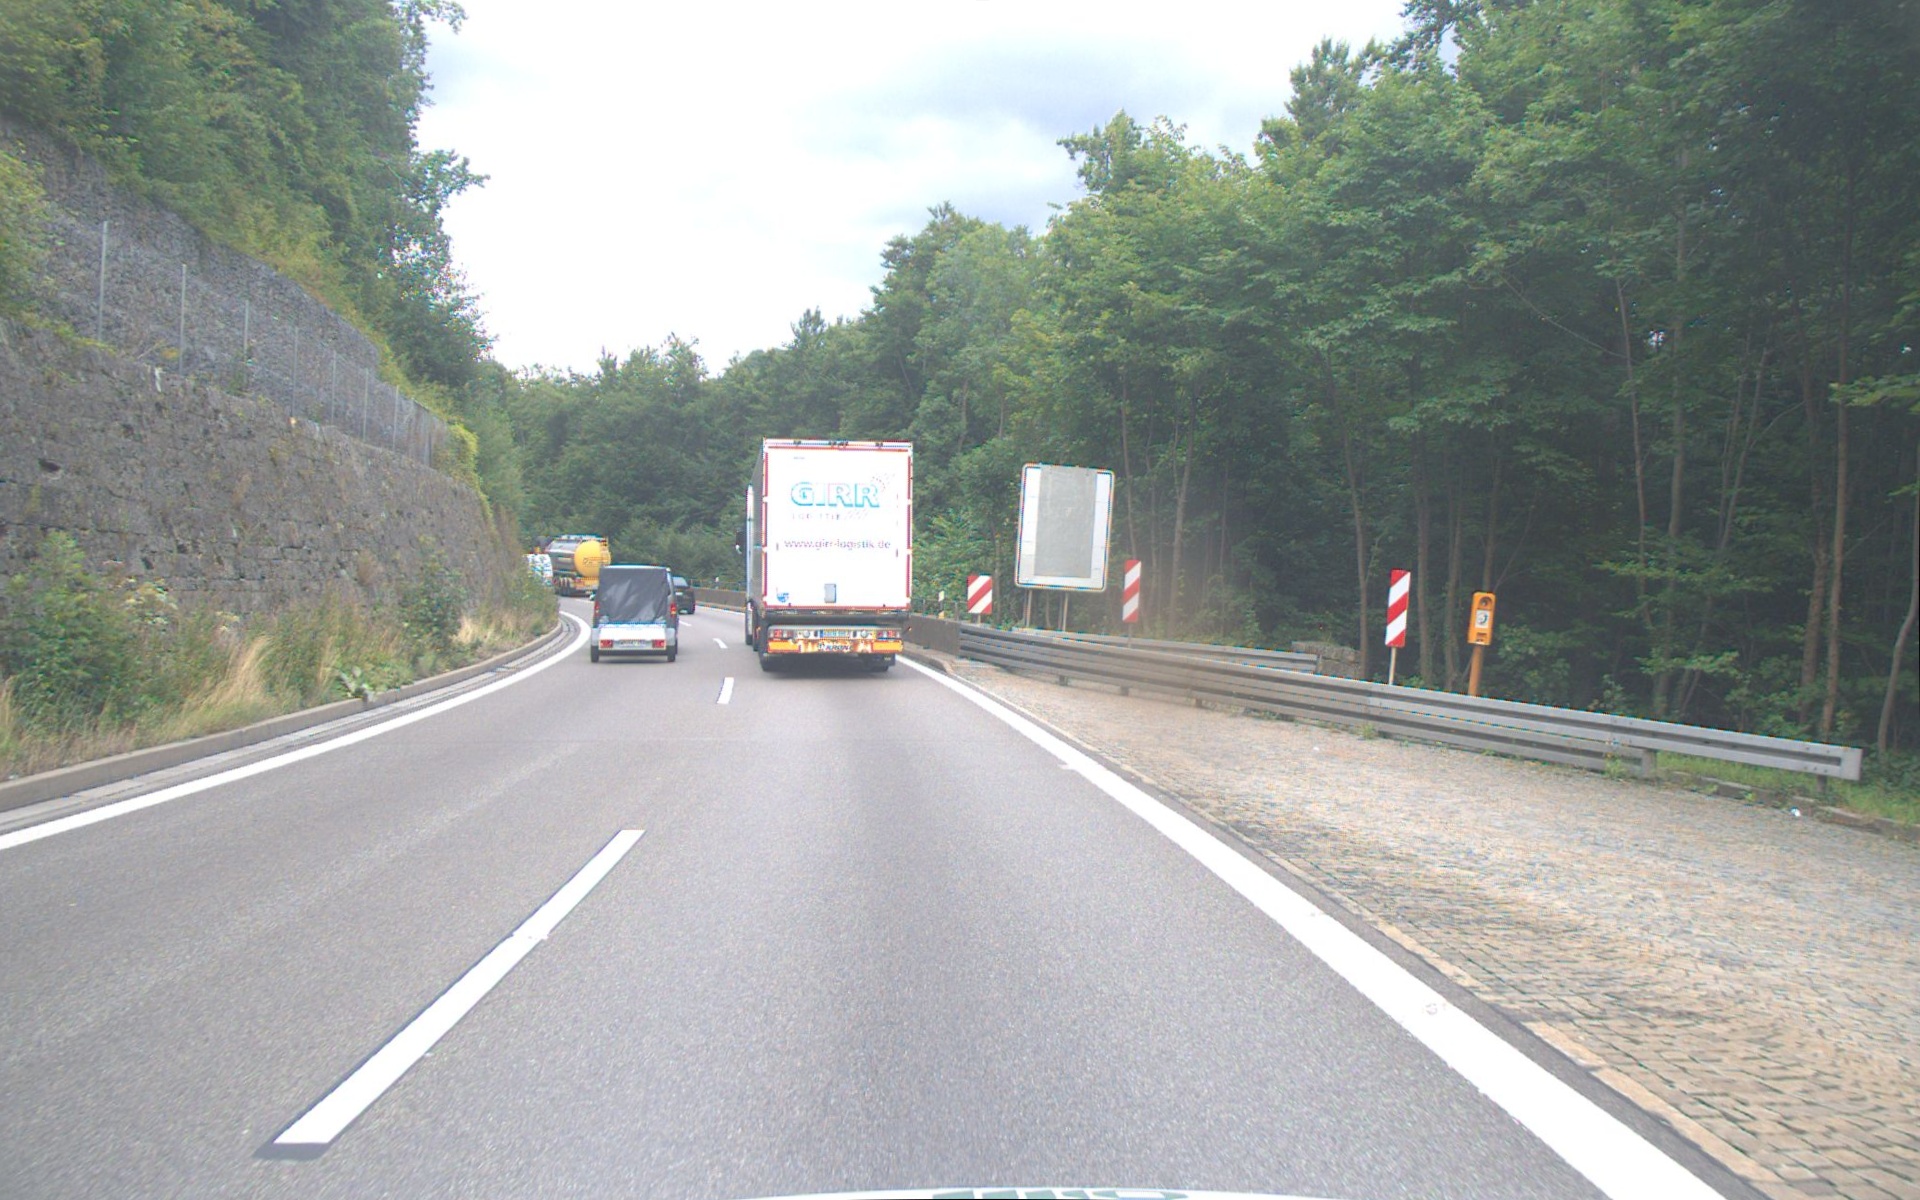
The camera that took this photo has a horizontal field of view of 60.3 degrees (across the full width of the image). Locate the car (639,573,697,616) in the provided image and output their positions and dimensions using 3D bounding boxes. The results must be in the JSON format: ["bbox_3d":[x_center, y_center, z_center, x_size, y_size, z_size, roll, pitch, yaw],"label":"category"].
[{"bbox_3d":[-12.753,-0.250,72.078,1.962,1.691,3.981,3,0,-17],"label":"car"}]

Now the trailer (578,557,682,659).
[{"bbox_3d":[-6.729,0.152,33.994,1.935,1.973,3.423,1,0,-9],"label":"trailer"}]

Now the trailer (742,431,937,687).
[{"bbox_3d":[-2.761,-0.878,33.220,3.000,4.055,12.118,3,2,-8],"label":"trailer"}]

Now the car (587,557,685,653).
[{"bbox_3d":[-7.437,0.108,38.402,1.956,2.049,5.529,1,0,-9],"label":"car"}]

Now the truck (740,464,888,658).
[{"bbox_3d":[-3.643,-0.969,39.579,3.000,4.055,7.176,3,2,-8],"label":"truck"}]

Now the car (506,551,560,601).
[{"bbox_3d":[-25.054,-1.443,96.887,1.962,2.718,6.888,3,0,-23],"label":"car"}]

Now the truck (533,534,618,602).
[{"bbox_3d":[-24.980,-2.034,106.810,3.016,4.056,13.600,0,1,-23],"label":"truck"}]
